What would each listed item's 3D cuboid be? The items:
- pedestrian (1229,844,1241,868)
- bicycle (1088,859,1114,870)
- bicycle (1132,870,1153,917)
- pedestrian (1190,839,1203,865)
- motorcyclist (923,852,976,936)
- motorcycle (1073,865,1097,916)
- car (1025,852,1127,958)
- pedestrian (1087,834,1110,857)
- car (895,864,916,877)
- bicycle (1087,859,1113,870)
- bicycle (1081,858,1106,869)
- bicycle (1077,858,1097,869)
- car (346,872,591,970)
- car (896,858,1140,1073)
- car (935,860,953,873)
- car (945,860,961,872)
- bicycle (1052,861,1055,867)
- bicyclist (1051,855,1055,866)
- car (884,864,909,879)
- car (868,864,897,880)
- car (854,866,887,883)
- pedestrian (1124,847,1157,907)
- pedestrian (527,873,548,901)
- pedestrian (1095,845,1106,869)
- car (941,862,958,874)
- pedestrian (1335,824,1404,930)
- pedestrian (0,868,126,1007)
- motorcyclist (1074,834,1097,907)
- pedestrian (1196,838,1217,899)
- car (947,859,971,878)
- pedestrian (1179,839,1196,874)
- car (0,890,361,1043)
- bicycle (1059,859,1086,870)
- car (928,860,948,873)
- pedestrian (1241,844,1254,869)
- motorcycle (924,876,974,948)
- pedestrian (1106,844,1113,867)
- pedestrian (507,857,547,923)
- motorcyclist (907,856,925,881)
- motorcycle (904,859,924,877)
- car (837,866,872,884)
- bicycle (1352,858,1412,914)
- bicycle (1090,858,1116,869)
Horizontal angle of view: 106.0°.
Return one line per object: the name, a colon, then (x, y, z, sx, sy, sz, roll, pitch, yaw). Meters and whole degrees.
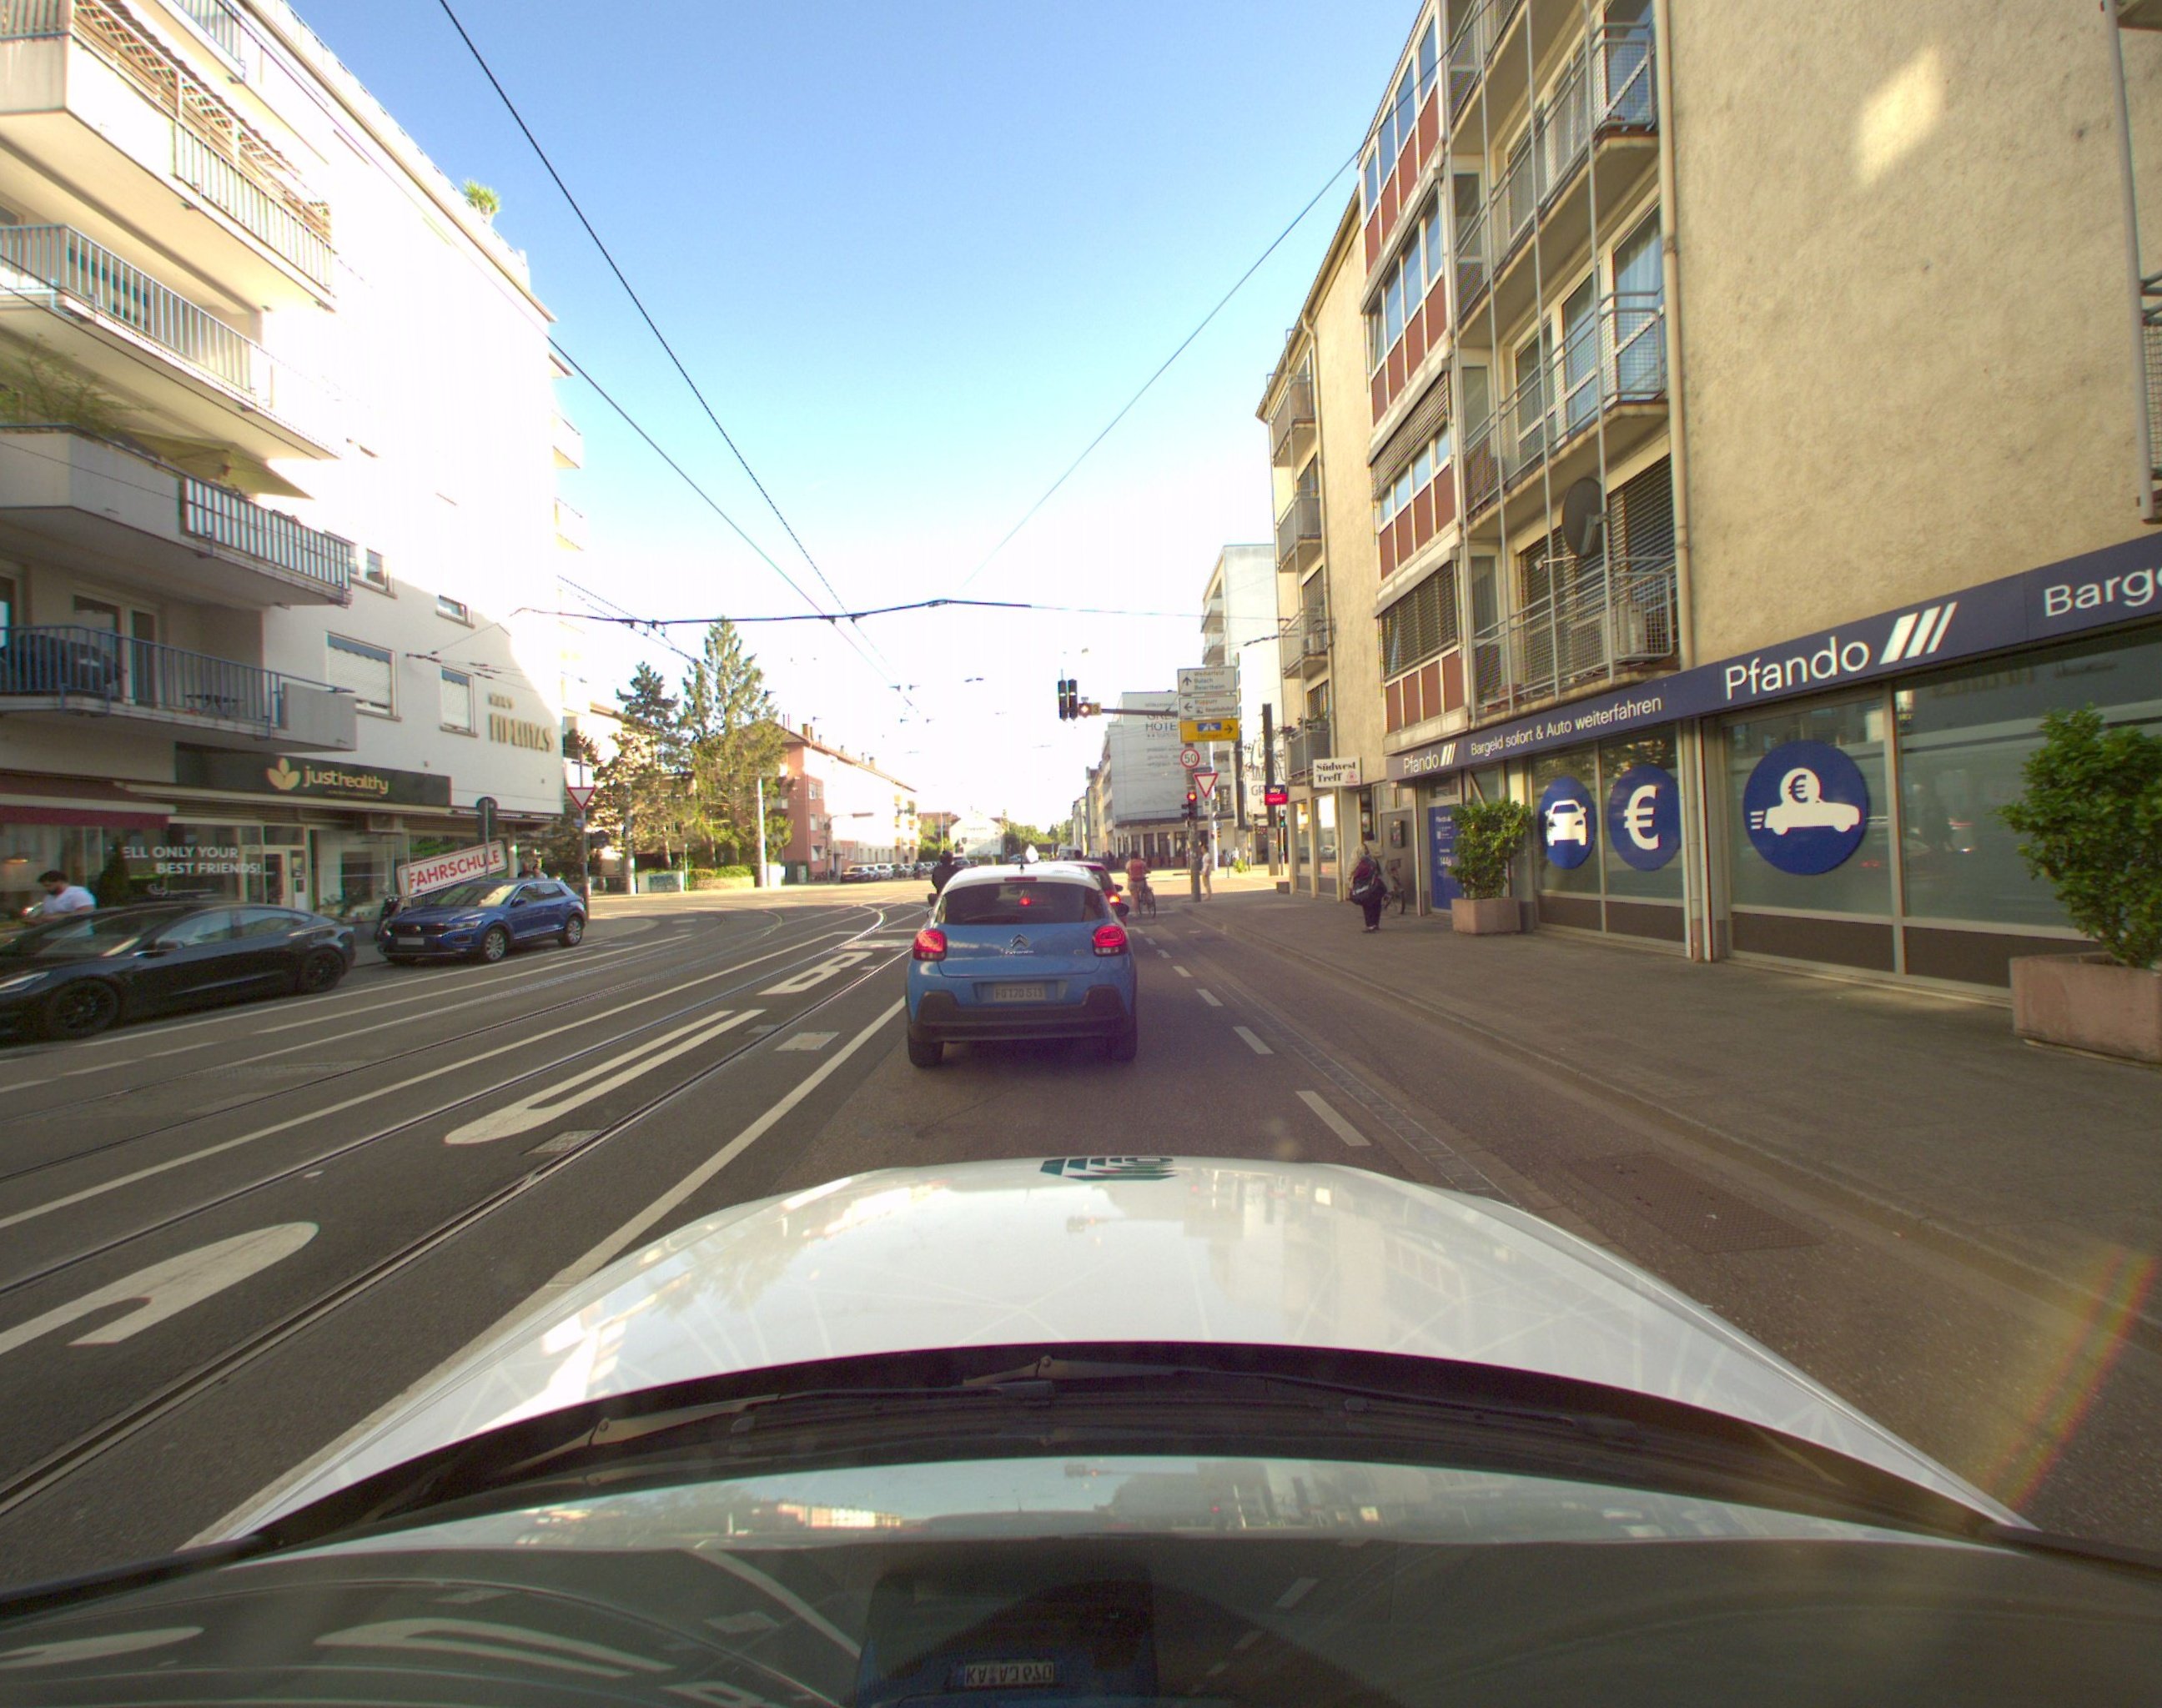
pedestrian: (10.625, 0.133, 56.119, 0.730, 1.601, 0.751, -1, -1, 15)
bicycle: (1.643, 0.860, 67.148, 2.130, 0.901, 0.366, 0, -1, -7)
bicycle: (1.543, 0.970, 20.582, 0.426, 1.123, 1.999, 0, -1, 2)
pedestrian: (9.065, -0.133, 63.884, 0.750, 2.014, 0.716, -1, -1, 33)
motorcyclist: (-2.427, 0.728, 15.034, 0.857, 1.505, 0.598, 0, -1, 1)
motorcycle: (0.113, 0.831, 19.548, 0.524, 1.139, 2.290, 0, -1, 2)
car: (-0.025, 0.756, 13.268, 1.419, 1.467, 2.925, -2, -1, 2)
pedestrian: (1.632, -0.733, 73.681, 1.986, 2.014, 4.001, 0, -1, 2)
car: (-19.943, 1.848, 92.700, 1.728, 1.498, 3.996, 0, -1, -2)
bicycle: (1.596, 0.849, 67.553, 2.130, 0.901, 0.366, 0, -1, -7)
bicycle: (1.054, 0.814, 68.450, 2.130, 0.901, 0.366, 0, -1, -7)
bicycle: (0.499, 0.815, 69.558, 1.765, 0.901, 0.369, -1, -1, 36)
car: (-11.922, 1.212, 16.267, 1.864, 1.531, 4.068, -2, 0, -2)
car: (-0.371, 0.770, 7.267, 1.648, 1.444, 3.524, 0, -1, 2)
car: (-18.862, 1.680, 112.024, 1.877, 1.687, 3.998, 0, -1, -1)
car: (-19.135, 1.762, 121.923, 1.841, 1.687, 3.872, 0, -1, -1)
bicycle: (-3.800, 1.356, 111.039, 0.347, 0.903, 1.859, 0, -1, 0)
bicyclist: (-3.827, 0.939, 110.600, 0.559, 1.477, 0.748, 0, -1, 2)
car: (-19.580, 1.818, 86.713, 1.781, 1.498, 3.998, 0, -1, -1)
car: (-19.432, 1.742, 80.005, 1.781, 1.511, 4.150, 0, -1, 1)
car: (-19.194, 1.827, 74.474, 1.808, 1.498, 4.302, 0, 0, 2)
pedestrian: (1.476, 0.575, 20.327, 0.774, 1.460, 0.682, 0, -1, 1)
pedestrian: (-36.437, 2.213, 54.604, 0.897, 1.791, 0.807, 0, -1, 0)
pedestrian: (1.669, 0.291, 69.294, 0.635, 2.014, 0.717, 0, -1, -34)
car: (-18.961, 1.944, 117.327, 1.828, 1.687, 3.998, 0, -1, -1)
pedestrian: (4.486, 0.353, 12.714, 0.822, 1.593, 0.751, 0, -1, 1)
pedestrian: (-13.748, 1.091, 11.006, 0.689, 1.803, 0.812, 0, -1, 1)
motorcyclist: (0.119, 0.397, 19.740, 0.524, 1.716, 0.717, 0, -1, 2)
pedestrian: (3.762, 0.434, 24.366, 0.515, 1.783, 0.595, 0, -1, 0)
car: (-11.508, 1.340, 76.820, 1.770, 1.666, 3.854, 0, -1, -2)
pedestrian: (6.134, 0.165, 46.960, 0.922, 2.014, 0.760, 0, -1, 1)
car: (-12.090, 1.291, 10.433, 1.816, 1.387, 4.425, -3, 0, -2)
bicycle: (-0.711, 0.872, 66.407, 2.130, 0.901, 0.366, 0, -1, -7)
car: (-18.702, 1.672, 106.895, 1.978, 1.687, 3.998, 0, -1, -1)
pedestrian: (11.014, 0.187, 53.778, 0.746, 1.657, 0.887, -1, -1, 18)
motorcycle: (-2.422, 1.036, 15.142, 0.535, 1.219, 1.982, 0, -1, 2)
pedestrian: (2.489, 0.139, 70.489, 0.575, 2.014, 0.625, 0, -1, -1)
pedestrian: (-17.281, 1.099, 25.397, 0.767, 2.014, 0.694, 0, -1, -4)
motorcyclist: (-13.739, 1.163, 67.817, 1.182, 2.013, 1.275, -2, 0, -1)
motorcycle: (-13.818, 1.151, 67.331, 0.921, 1.486, 3.724, 0, -1, -1)
car: (-19.231, 1.746, 69.288, 1.787, 1.421, 3.996, 0, -1, 1)
bicycle: (5.685, 0.574, 15.456, 0.540, 0.998, 1.706, 0, -1, 2)
bicycle: (1.772, 0.764, 66.011, 2.130, 0.901, 0.366, 0, -1, -7)
